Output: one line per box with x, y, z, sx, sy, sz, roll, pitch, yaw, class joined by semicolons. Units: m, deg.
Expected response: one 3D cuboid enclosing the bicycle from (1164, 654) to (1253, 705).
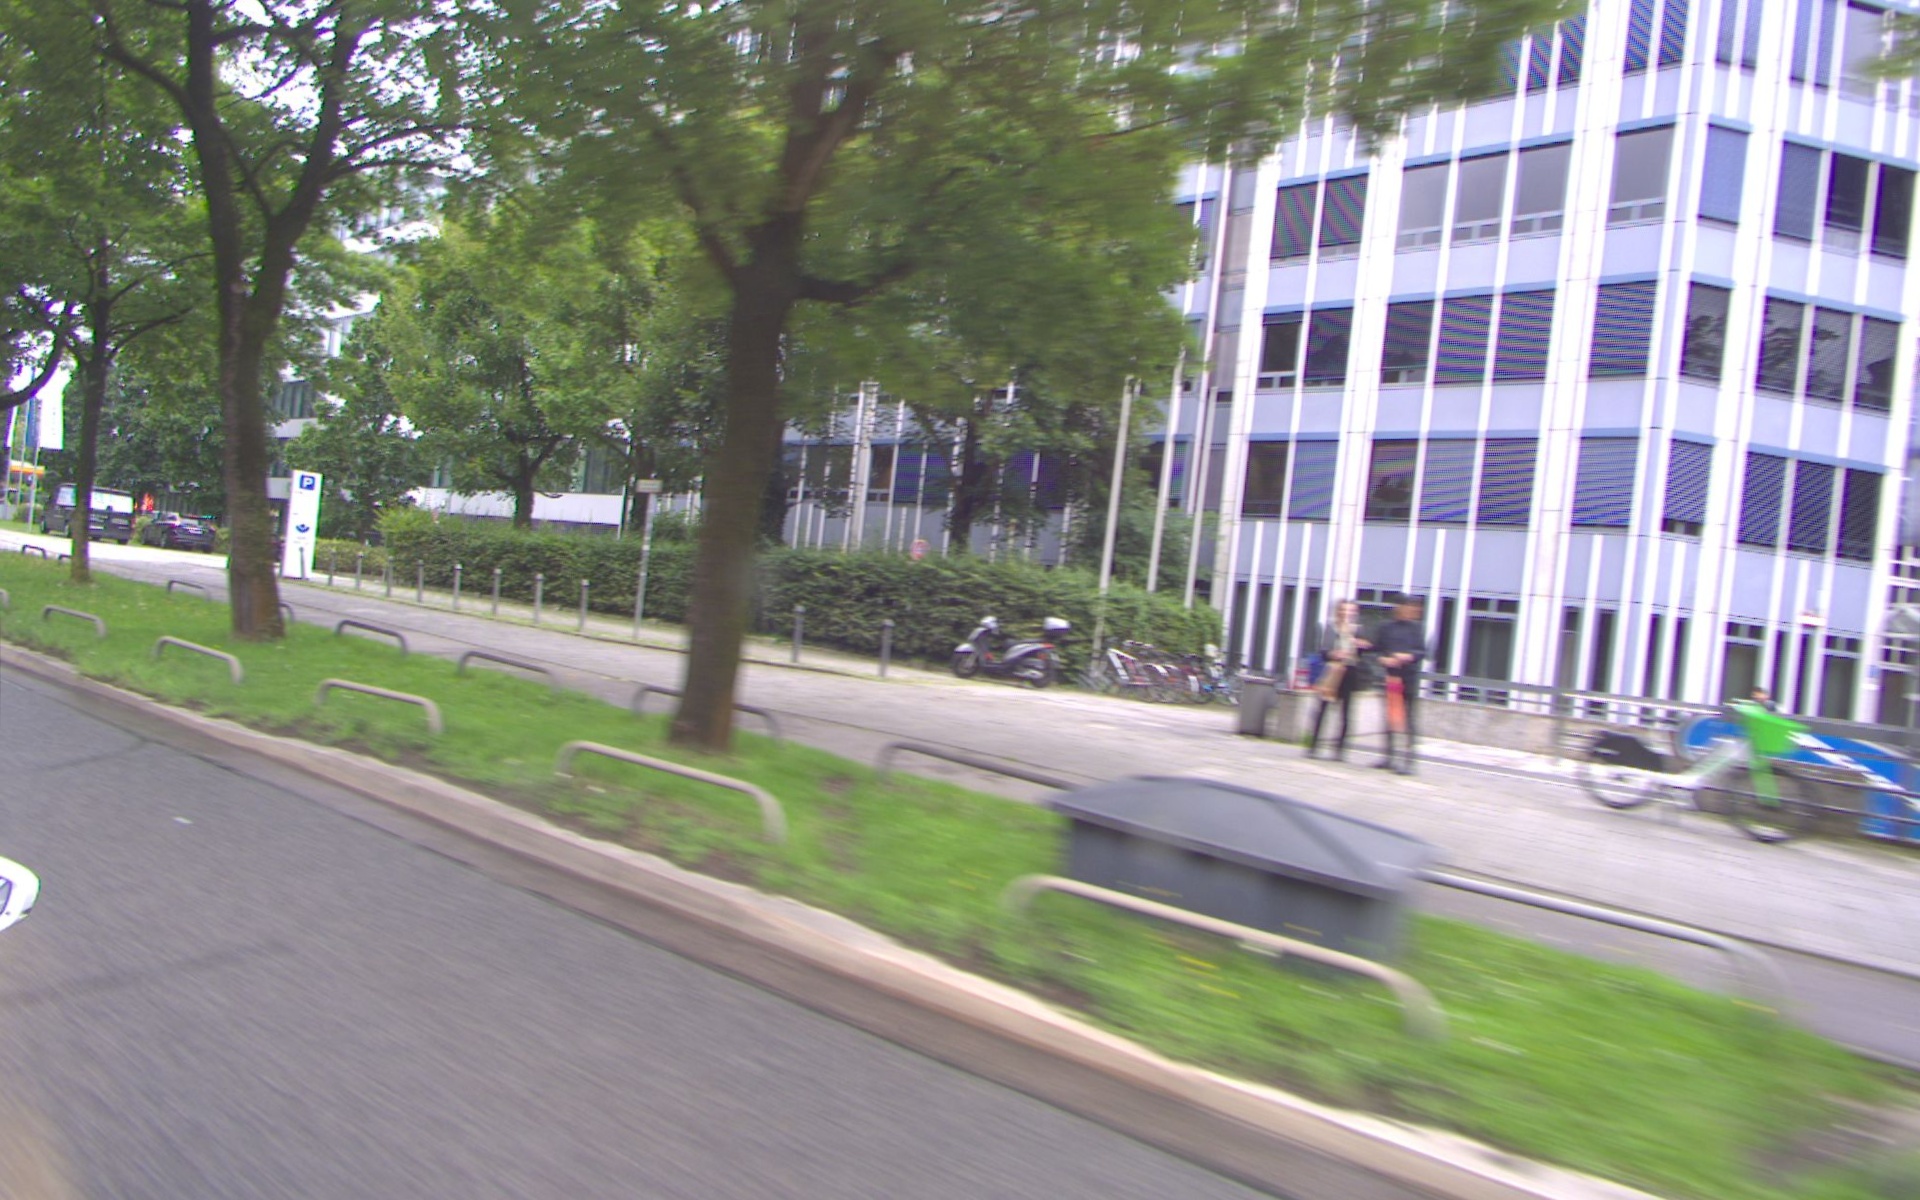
5.535;1.759;22.417;1.744;0.864;0.559;8;1;32;bicycle

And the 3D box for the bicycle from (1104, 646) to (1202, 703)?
3.866;1.489;20.211;1.744;0.864;0.559;8;1;32;bicycle

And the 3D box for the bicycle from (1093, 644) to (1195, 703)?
3.575;1.422;19.634;1.804;0.864;0.553;8;1;32;bicycle

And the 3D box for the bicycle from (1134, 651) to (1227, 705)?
4.663;1.646;21.285;1.744;0.864;0.559;8;1;32;bicycle

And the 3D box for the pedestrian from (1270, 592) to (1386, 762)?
4.029;0.842;11.021;0.779;1.736;0.742;6;1;-40;pedestrian

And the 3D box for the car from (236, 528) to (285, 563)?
-33.874;-2.626;48.741;1.772;1.390;3.927;8;-1;-35;car

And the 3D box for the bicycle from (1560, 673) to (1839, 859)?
6.538;1.414;8.989;1.834;1.243;0.529;9;4;40;bicycle

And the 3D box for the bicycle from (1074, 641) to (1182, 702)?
3.153;1.333;18.938;1.804;0.864;0.683;8;1;32;bicycle

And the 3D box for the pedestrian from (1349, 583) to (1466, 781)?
4.637;0.833;10.429;0.649;1.923;0.739;5;1;-45;pedestrian

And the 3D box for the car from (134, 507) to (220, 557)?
-36.263;-3.152;46.560;4.401;1.841;1.842;6;0;35;car

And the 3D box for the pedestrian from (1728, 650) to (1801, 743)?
15.706;1.877;19.652;0.642;1.699;0.698;6;1;-8;pedestrian

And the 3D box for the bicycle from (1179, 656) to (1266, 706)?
6.015;1.855;23.097;1.744;0.864;0.559;8;1;32;bicycle

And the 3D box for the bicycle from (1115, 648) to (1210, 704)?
4.162;1.553;20.719;1.744;0.864;0.559;8;1;32;bicycle

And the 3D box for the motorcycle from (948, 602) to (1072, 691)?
0.889;0.819;18.042;2.036;1.335;0.550;7;1;21;motorcycle

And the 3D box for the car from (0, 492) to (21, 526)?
-65.427;-6.349;65.805;2.113;2.108;5.472;6;-1;35;car

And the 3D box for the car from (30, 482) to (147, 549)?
-37.724;-3.697;43.482;6.169;2.335;2.265;6;0;35;car
